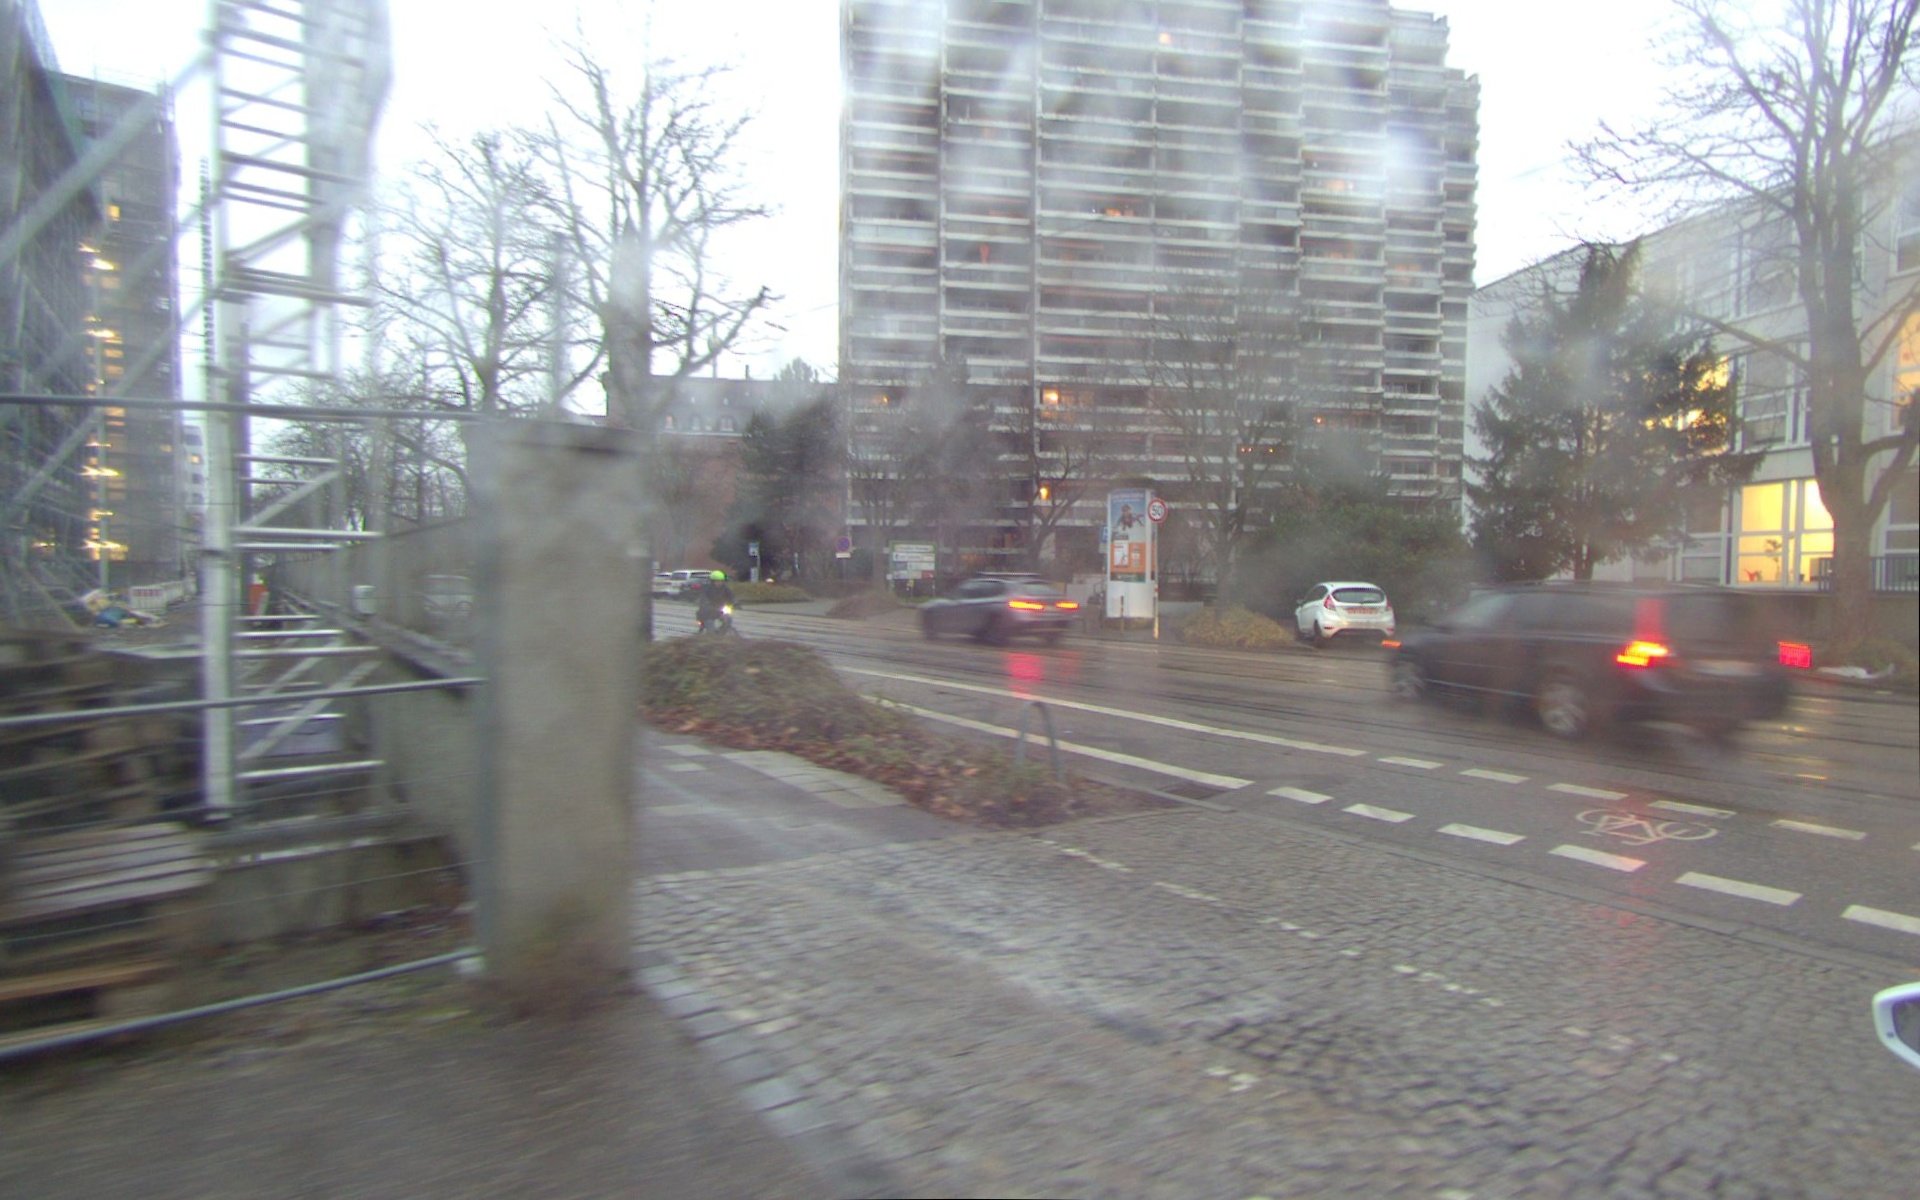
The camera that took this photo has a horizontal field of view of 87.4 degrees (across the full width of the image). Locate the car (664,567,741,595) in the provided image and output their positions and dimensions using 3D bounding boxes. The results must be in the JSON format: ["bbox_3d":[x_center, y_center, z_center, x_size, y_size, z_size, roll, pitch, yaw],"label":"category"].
[{"bbox_3d":[-14.559,-1.071,56.869,3.953,1.506,1.658,0,1,-30],"label":"car"}]

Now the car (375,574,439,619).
[{"bbox_3d":[-21.137,-0.151,38.353,1.848,1.615,3.963,0,1,-33],"label":"car"}]

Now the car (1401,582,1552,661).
[{"bbox_3d":[10.659,0.381,21.048,1.818,1.482,4.002,1,1,12],"label":"car"}]

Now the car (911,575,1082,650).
[{"bbox_3d":[0.751,0.244,23.541,1.696,1.600,4.334,0,1,-36],"label":"car"}]

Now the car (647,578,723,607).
[{"bbox_3d":[-16.230,-0.412,59.328,3.953,1.662,1.984,0,1,-30],"label":"car"}]

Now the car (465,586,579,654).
[{"bbox_3d":[-9.893,0.388,22.556,1.736,1.406,3.701,0,1,-34],"label":"car"}]

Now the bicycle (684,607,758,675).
[{"bbox_3d":[-4.363,0.710,18.226,0.702,1.111,2.011,0,1,-33],"label":"bicycle"}]

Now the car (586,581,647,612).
[{"bbox_3d":[-16.568,-0.173,48.288,1.749,1.430,3.960,0,1,-35],"label":"car"}]

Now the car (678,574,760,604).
[{"bbox_3d":[-12.827,-0.576,53.571,3.953,1.506,1.658,0,1,-30],"label":"car"}]

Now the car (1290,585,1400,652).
[{"bbox_3d":[9.005,0.385,23.802,1.818,1.418,4.002,1,1,12],"label":"car"}]

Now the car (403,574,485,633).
[{"bbox_3d":[-15.229,0.070,29.560,1.736,1.605,3.701,0,1,-34],"label":"car"}]

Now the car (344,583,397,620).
[{"bbox_3d":[-26.732,0.041,45.498,1.848,1.615,3.963,0,1,-33],"label":"car"}]

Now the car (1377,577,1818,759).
[{"bbox_3d":[6.457,0.570,10.879,1.720,1.565,4.290,0,1,-7],"label":"car"}]

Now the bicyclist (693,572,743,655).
[{"bbox_3d":[-4.400,0.228,18.271,0.651,1.466,0.842,0,1,-33],"label":"bicyclist"}]

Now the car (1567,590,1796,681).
[{"bbox_3d":[12.466,0.536,17.697,1.818,1.397,4.002,1,1,12],"label":"car"}]
